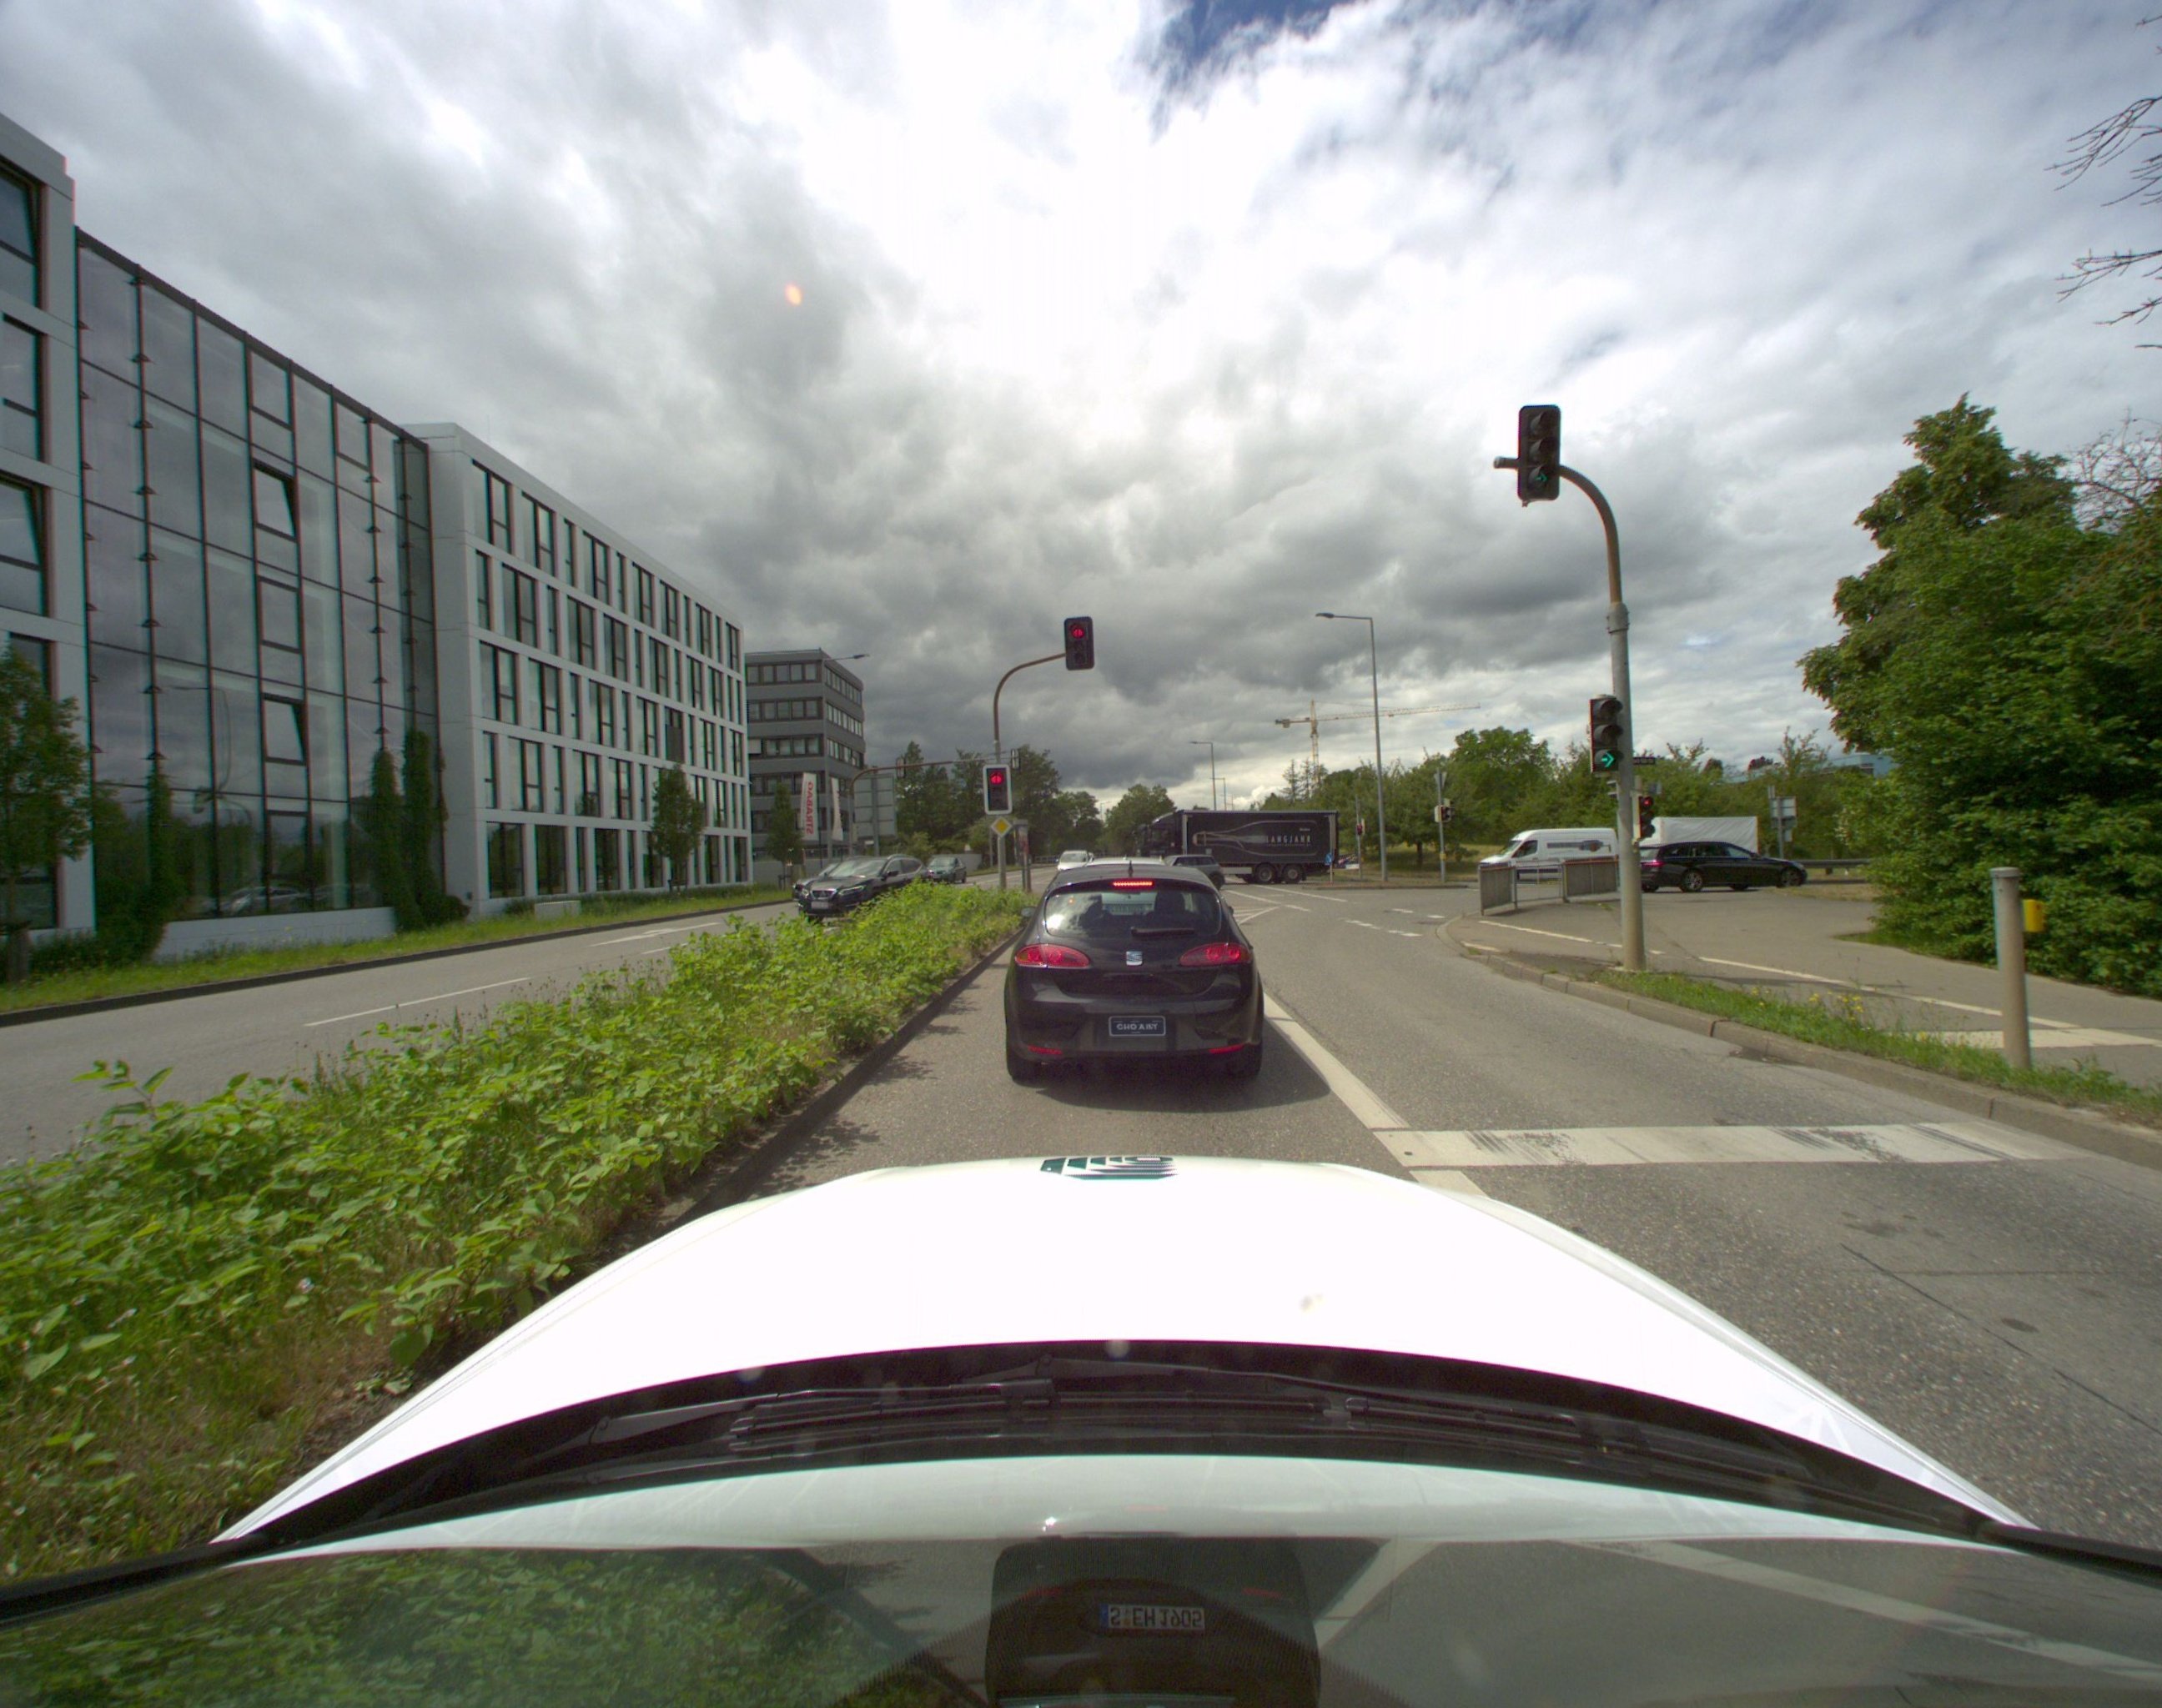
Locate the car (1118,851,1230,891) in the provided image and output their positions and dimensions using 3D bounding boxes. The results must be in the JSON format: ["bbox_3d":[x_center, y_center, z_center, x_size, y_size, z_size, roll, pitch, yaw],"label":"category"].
[{"bbox_3d":[3.739,0.643,32.632,4.005,1.420,1.984,-1,0,-24],"label":"car"}]

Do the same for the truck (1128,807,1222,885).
[{"bbox_3d":[4.374,-0.383,38.221,3.981,3.469,1.996,-1,0,-6],"label":"truck"}]

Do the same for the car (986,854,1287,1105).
[{"bbox_3d":[0.382,0.750,6.644,1.766,1.452,3.583,-1,0,2],"label":"car"}]

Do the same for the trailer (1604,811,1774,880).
[{"bbox_3d":[27.542,-0.372,37.105,5.731,2.806,2.253,-2,0,10],"label":"trailer"}]

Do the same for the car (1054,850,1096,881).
[{"bbox_3d":[-0.276,0.633,46.188,1.984,1.596,4.006,-2,0,5],"label":"car"}]

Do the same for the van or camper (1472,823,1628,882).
[{"bbox_3d":[21.788,-0.057,38.127,5.880,2.532,2.256,-1,0,10],"label":"van or camper"}]

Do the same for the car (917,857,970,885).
[{"bbox_3d":[-7.296,0.858,43.671,1.986,1.352,4.002,-1,0,2],"label":"car"}]

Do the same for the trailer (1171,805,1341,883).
[{"bbox_3d":[8.244,-0.482,38.644,7.573,3.458,1.996,-1,0,-6],"label":"trailer"}]

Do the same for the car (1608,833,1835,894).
[{"bbox_3d":[18.522,0.262,23.694,5.169,1.440,1.877,-3,0,-2],"label":"car"}]

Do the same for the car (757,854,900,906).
[{"bbox_3d":[-8.491,0.839,27.759,1.974,1.525,4.346,-2,0,33],"label":"car"}]

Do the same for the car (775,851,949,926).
[{"bbox_3d":[-5.275,0.779,20.280,1.977,1.615,4.340,-2,0,20],"label":"car"}]

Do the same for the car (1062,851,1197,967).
[{"bbox_3d":[0.656,0.747,12.853,1.768,1.491,3.581,-3,0,0],"label":"car"}]
